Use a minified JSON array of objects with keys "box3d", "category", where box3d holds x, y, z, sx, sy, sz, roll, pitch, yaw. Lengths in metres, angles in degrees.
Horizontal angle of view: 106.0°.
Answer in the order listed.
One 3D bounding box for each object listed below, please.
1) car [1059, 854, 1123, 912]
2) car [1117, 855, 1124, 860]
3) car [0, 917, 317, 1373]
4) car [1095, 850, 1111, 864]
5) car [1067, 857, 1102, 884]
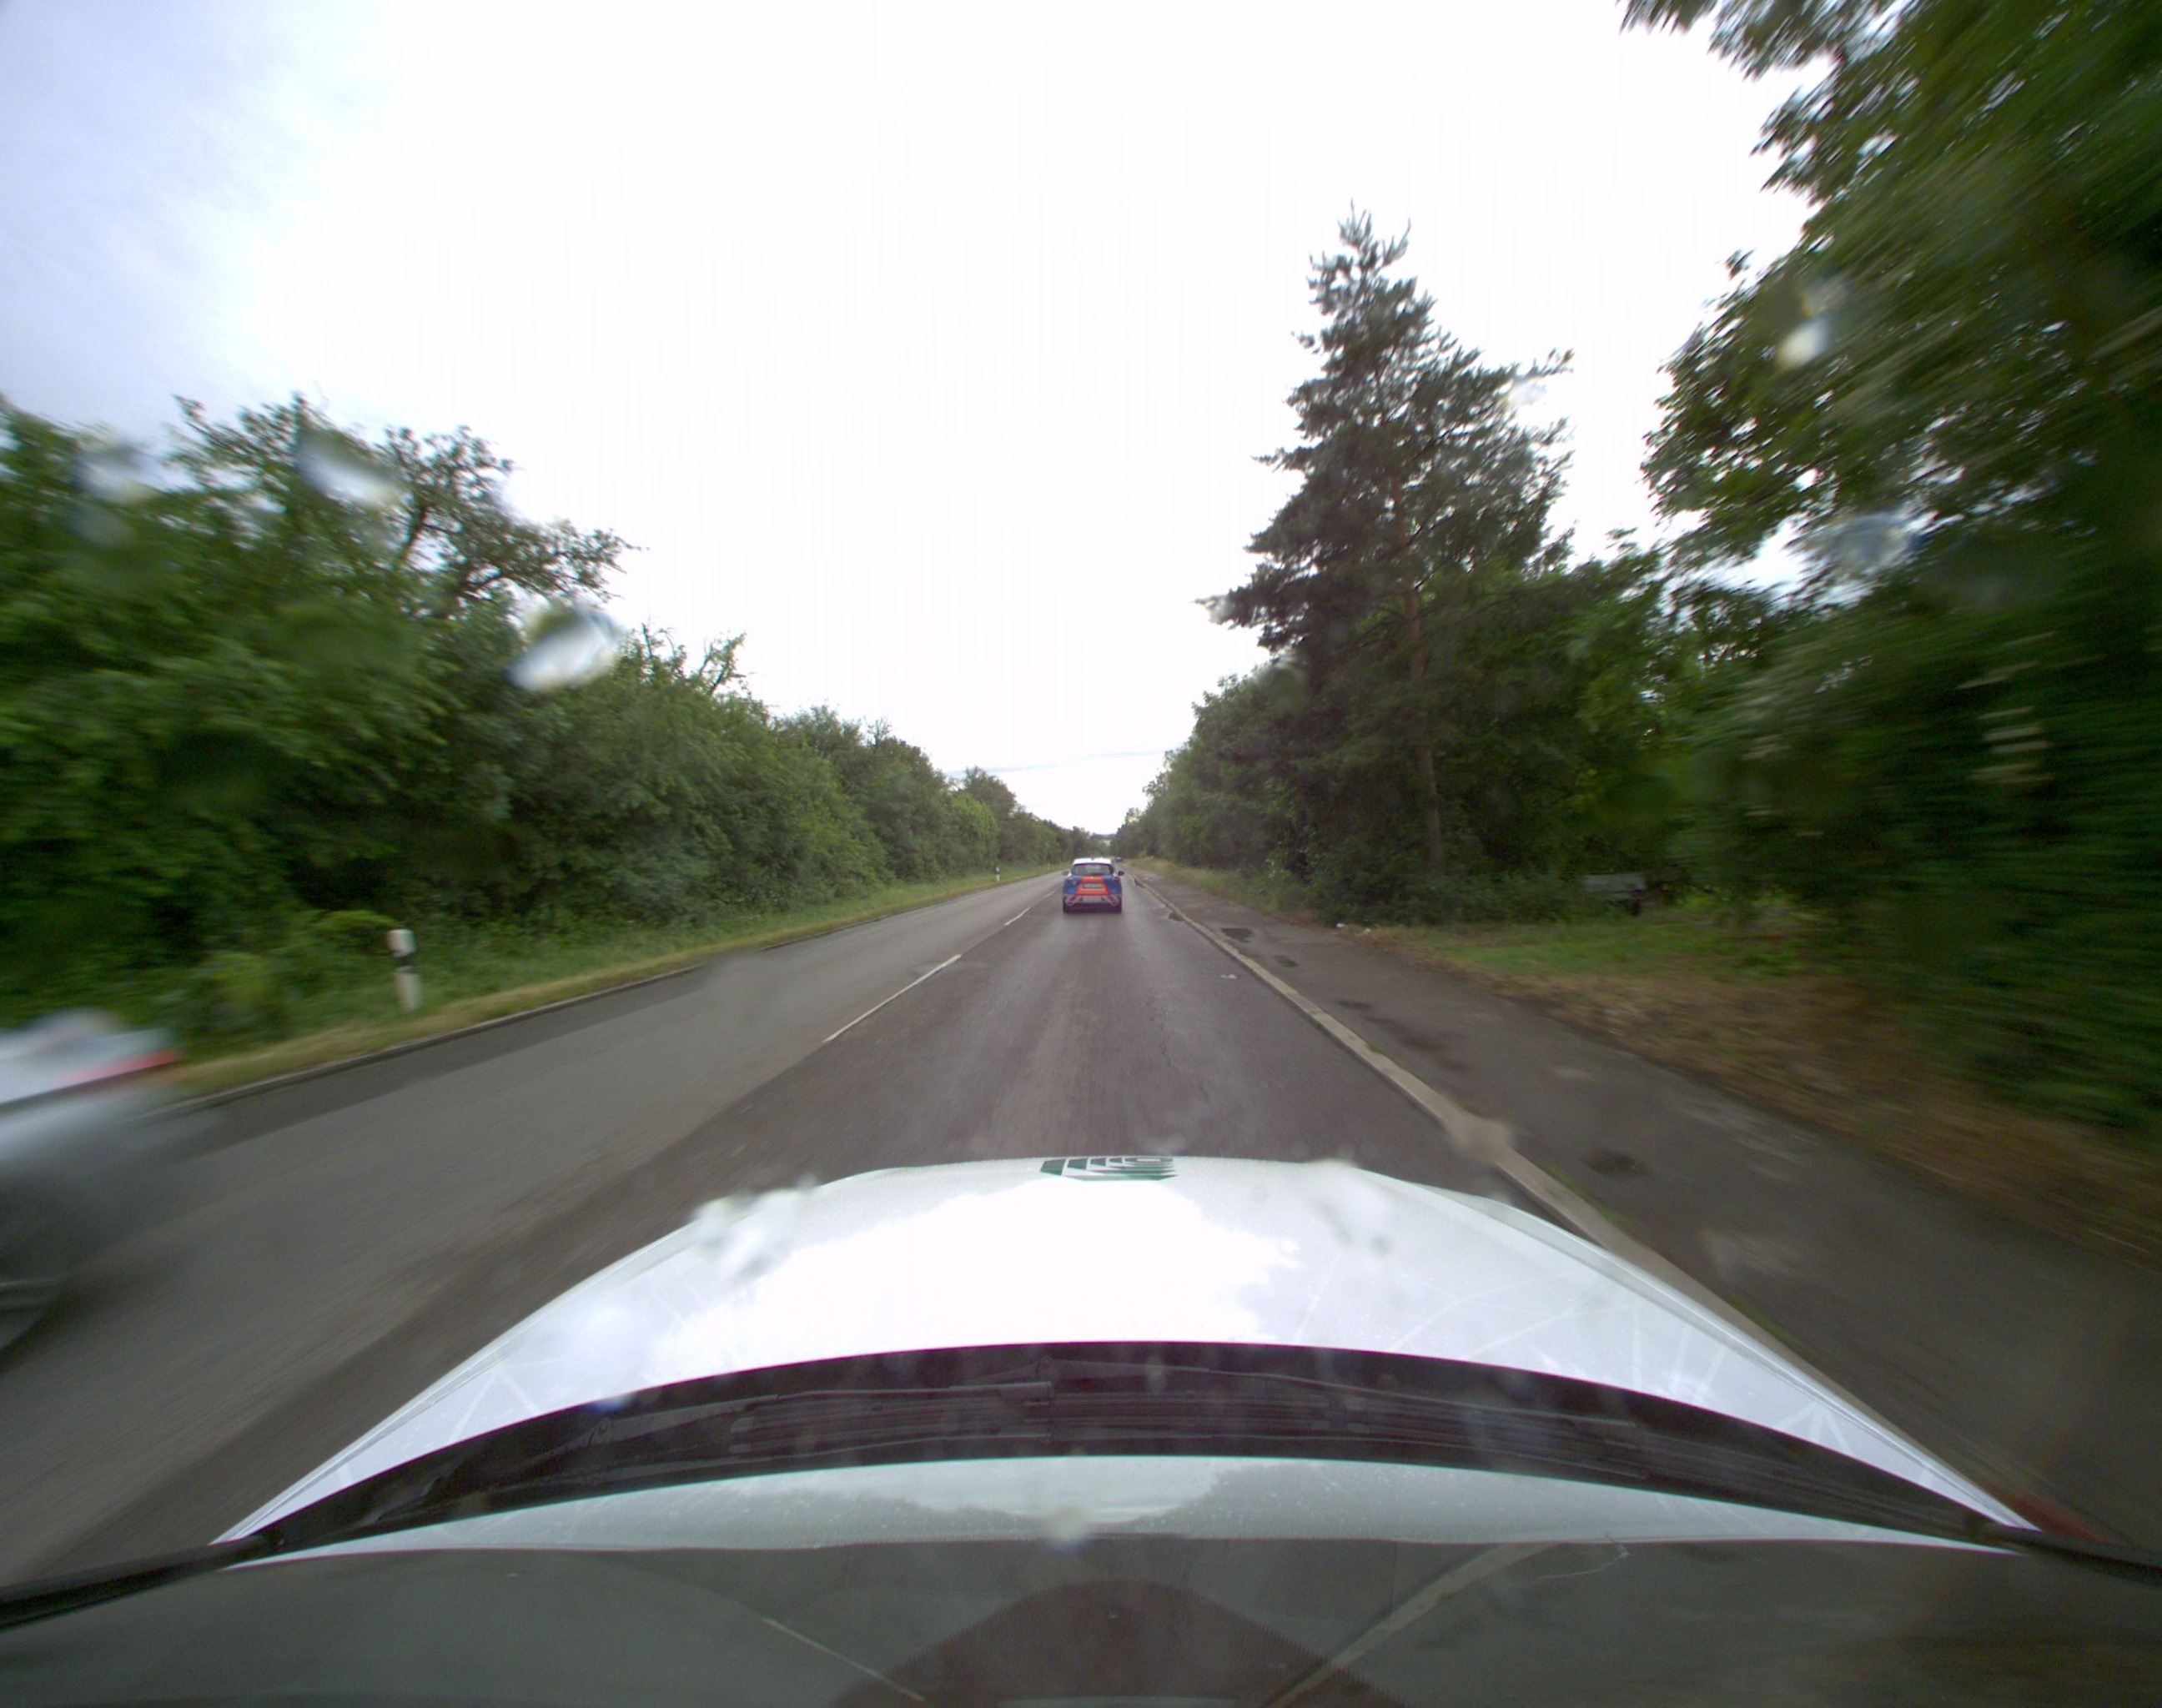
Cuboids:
[{"box3d":[0.344,0.811,24.506,1.745,1.555,3.794,-1,0,2],"category":"car"},{"box3d":[12.401,1.123,255.428,1.986,1.376,4.002,-3,-1,2],"category":"car"},{"box3d":[-4.378,0.987,1.409,1.884,1.354,4.382,-2,0,1],"category":"car"},{"box3d":[2.782,0.360,102.948,1.934,1.723,4.065,-3,0,2],"category":"car"},{"box3d":[0.218,0.818,42.231,1.592,1.287,3.478,-3,0,2],"category":"car"}]
